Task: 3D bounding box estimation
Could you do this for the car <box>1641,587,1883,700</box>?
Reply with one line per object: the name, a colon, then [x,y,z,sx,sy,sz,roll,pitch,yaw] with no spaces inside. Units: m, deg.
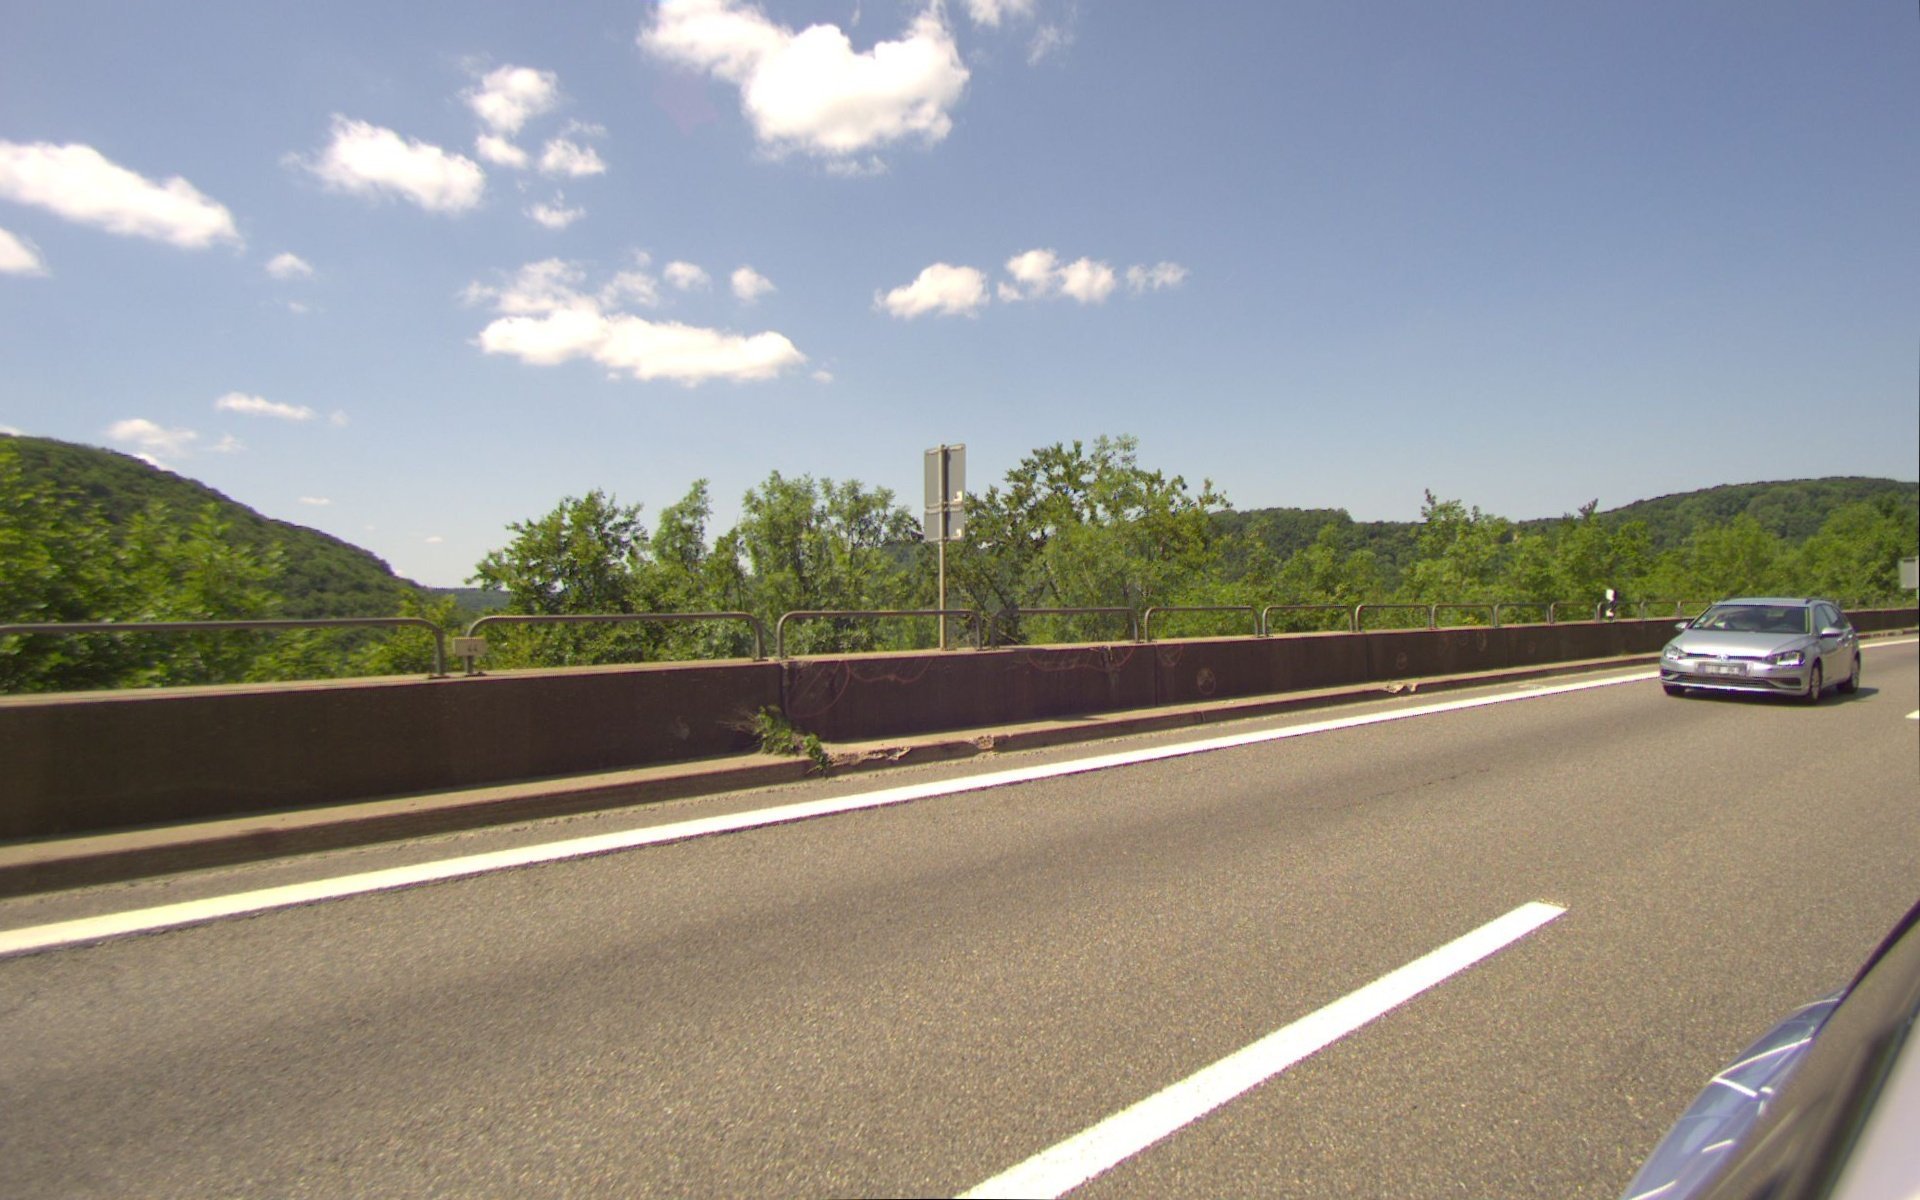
car: [12.085,0.533,15.162,4.217,1.394,1.972,-1,2,-39]
